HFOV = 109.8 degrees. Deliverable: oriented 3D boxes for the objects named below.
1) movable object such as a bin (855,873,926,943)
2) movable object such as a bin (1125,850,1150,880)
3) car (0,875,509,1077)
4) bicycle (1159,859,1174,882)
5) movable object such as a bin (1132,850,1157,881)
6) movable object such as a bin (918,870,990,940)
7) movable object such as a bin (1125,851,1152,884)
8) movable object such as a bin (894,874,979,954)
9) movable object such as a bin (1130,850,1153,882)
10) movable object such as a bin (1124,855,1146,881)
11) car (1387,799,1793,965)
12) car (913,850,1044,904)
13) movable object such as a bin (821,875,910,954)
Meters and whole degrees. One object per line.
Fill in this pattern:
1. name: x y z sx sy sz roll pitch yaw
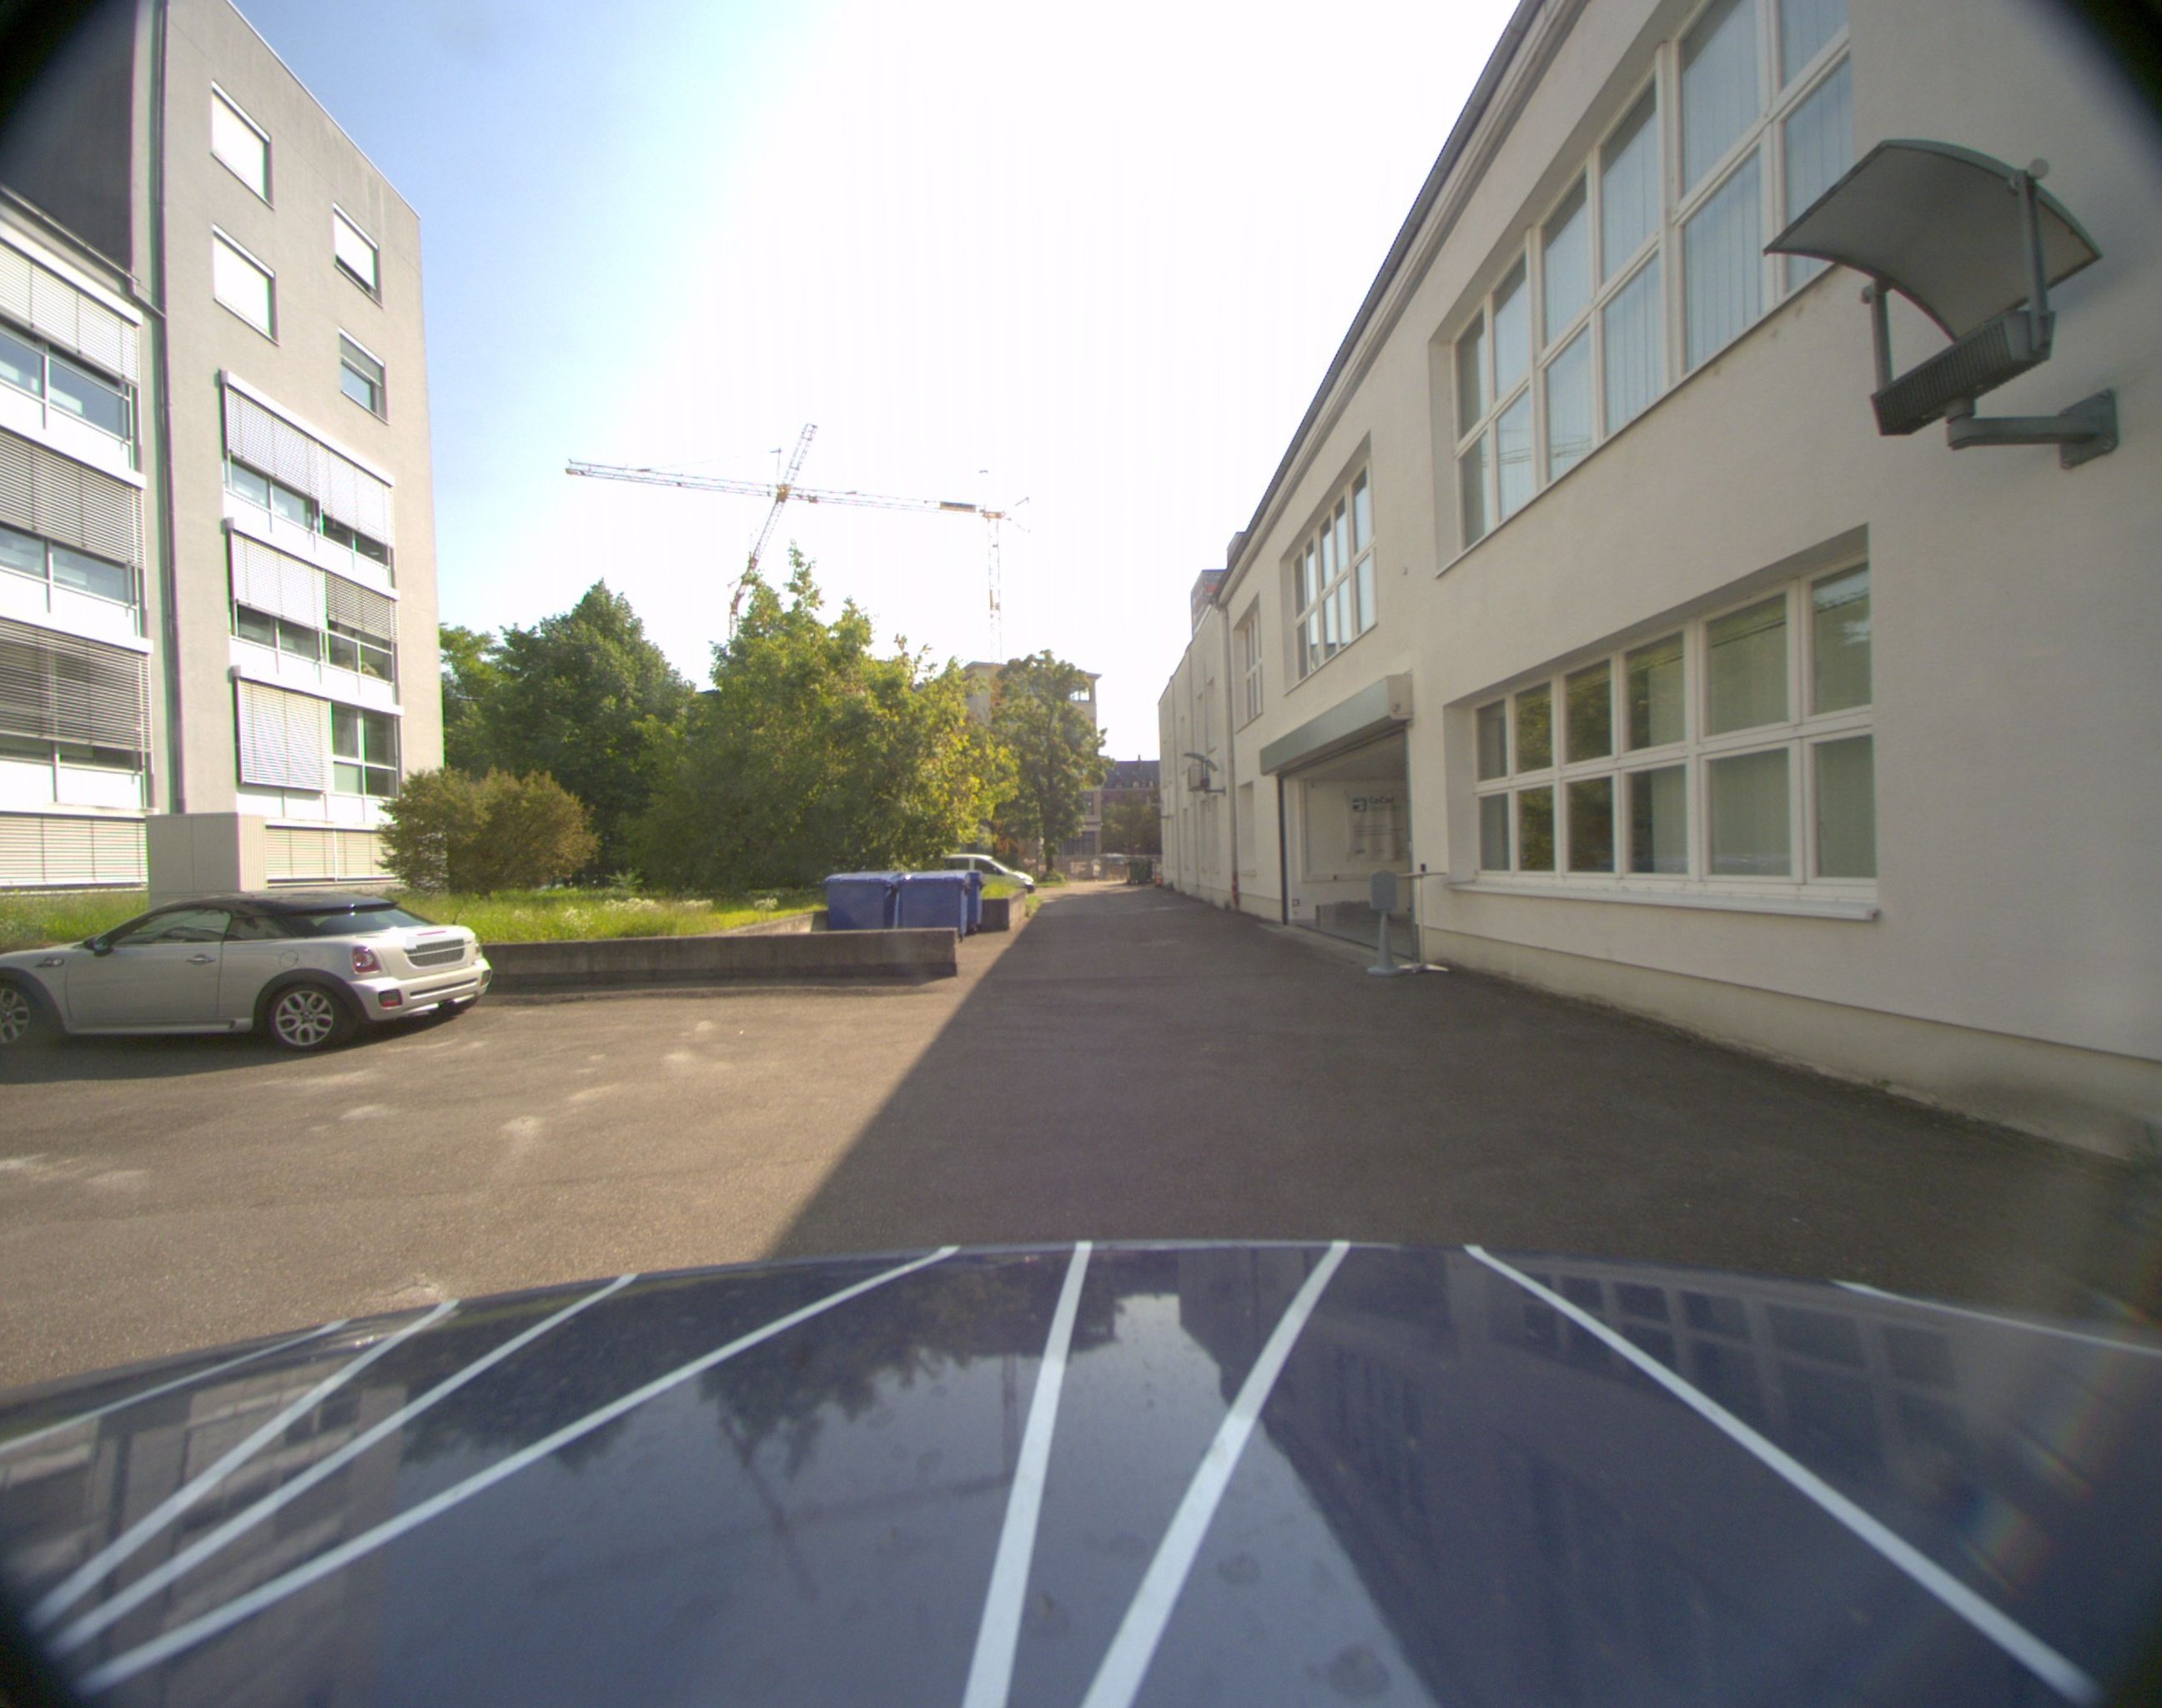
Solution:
1. movable object such as a bin: -3.958 1.098 15.881 1.230 1.333 1.076 -2 1 -5
2. movable object such as a bin: 3.361 0.636 45.322 1.184 1.696 1.376 -2 1 -4
3. car: -8.035 1.067 7.311 3.629 1.536 1.802 2 1 -2
4. bicycle: 4.744 0.926 42.253 0.477 1.206 2.008 -2 1 -2
5. movable object such as a bin: 3.635 0.638 43.926 1.184 1.696 1.376 -2 1 -4
6. movable object such as a bin: -2.624 1.047 15.878 1.313 1.333 1.100 -2 1 -3
7. movable object such as a bin: 3.053 0.689 40.714 1.184 1.696 1.376 -2 1 -4
8. movable object such as a bin: -2.654 1.081 14.126 1.303 1.333 1.194 -2 1 -1
9. movable object such as a bin: 3.361 0.661 42.516 1.183 1.696 1.395 -2 1 4
10. movable object such as a bin: 3.306 0.845 46.723 1.037 1.489 1.106 -2 1 -12
11. car: 7.491 0.378 11.581 4.759 2.080 2.055 -3 1 0
12. car: -4.125 0.933 31.275 4.969 1.910 2.044 -3 1 2
13. movable object such as a bin: -3.984 1.109 14.164 1.237 1.333 1.117 -2 1 3
